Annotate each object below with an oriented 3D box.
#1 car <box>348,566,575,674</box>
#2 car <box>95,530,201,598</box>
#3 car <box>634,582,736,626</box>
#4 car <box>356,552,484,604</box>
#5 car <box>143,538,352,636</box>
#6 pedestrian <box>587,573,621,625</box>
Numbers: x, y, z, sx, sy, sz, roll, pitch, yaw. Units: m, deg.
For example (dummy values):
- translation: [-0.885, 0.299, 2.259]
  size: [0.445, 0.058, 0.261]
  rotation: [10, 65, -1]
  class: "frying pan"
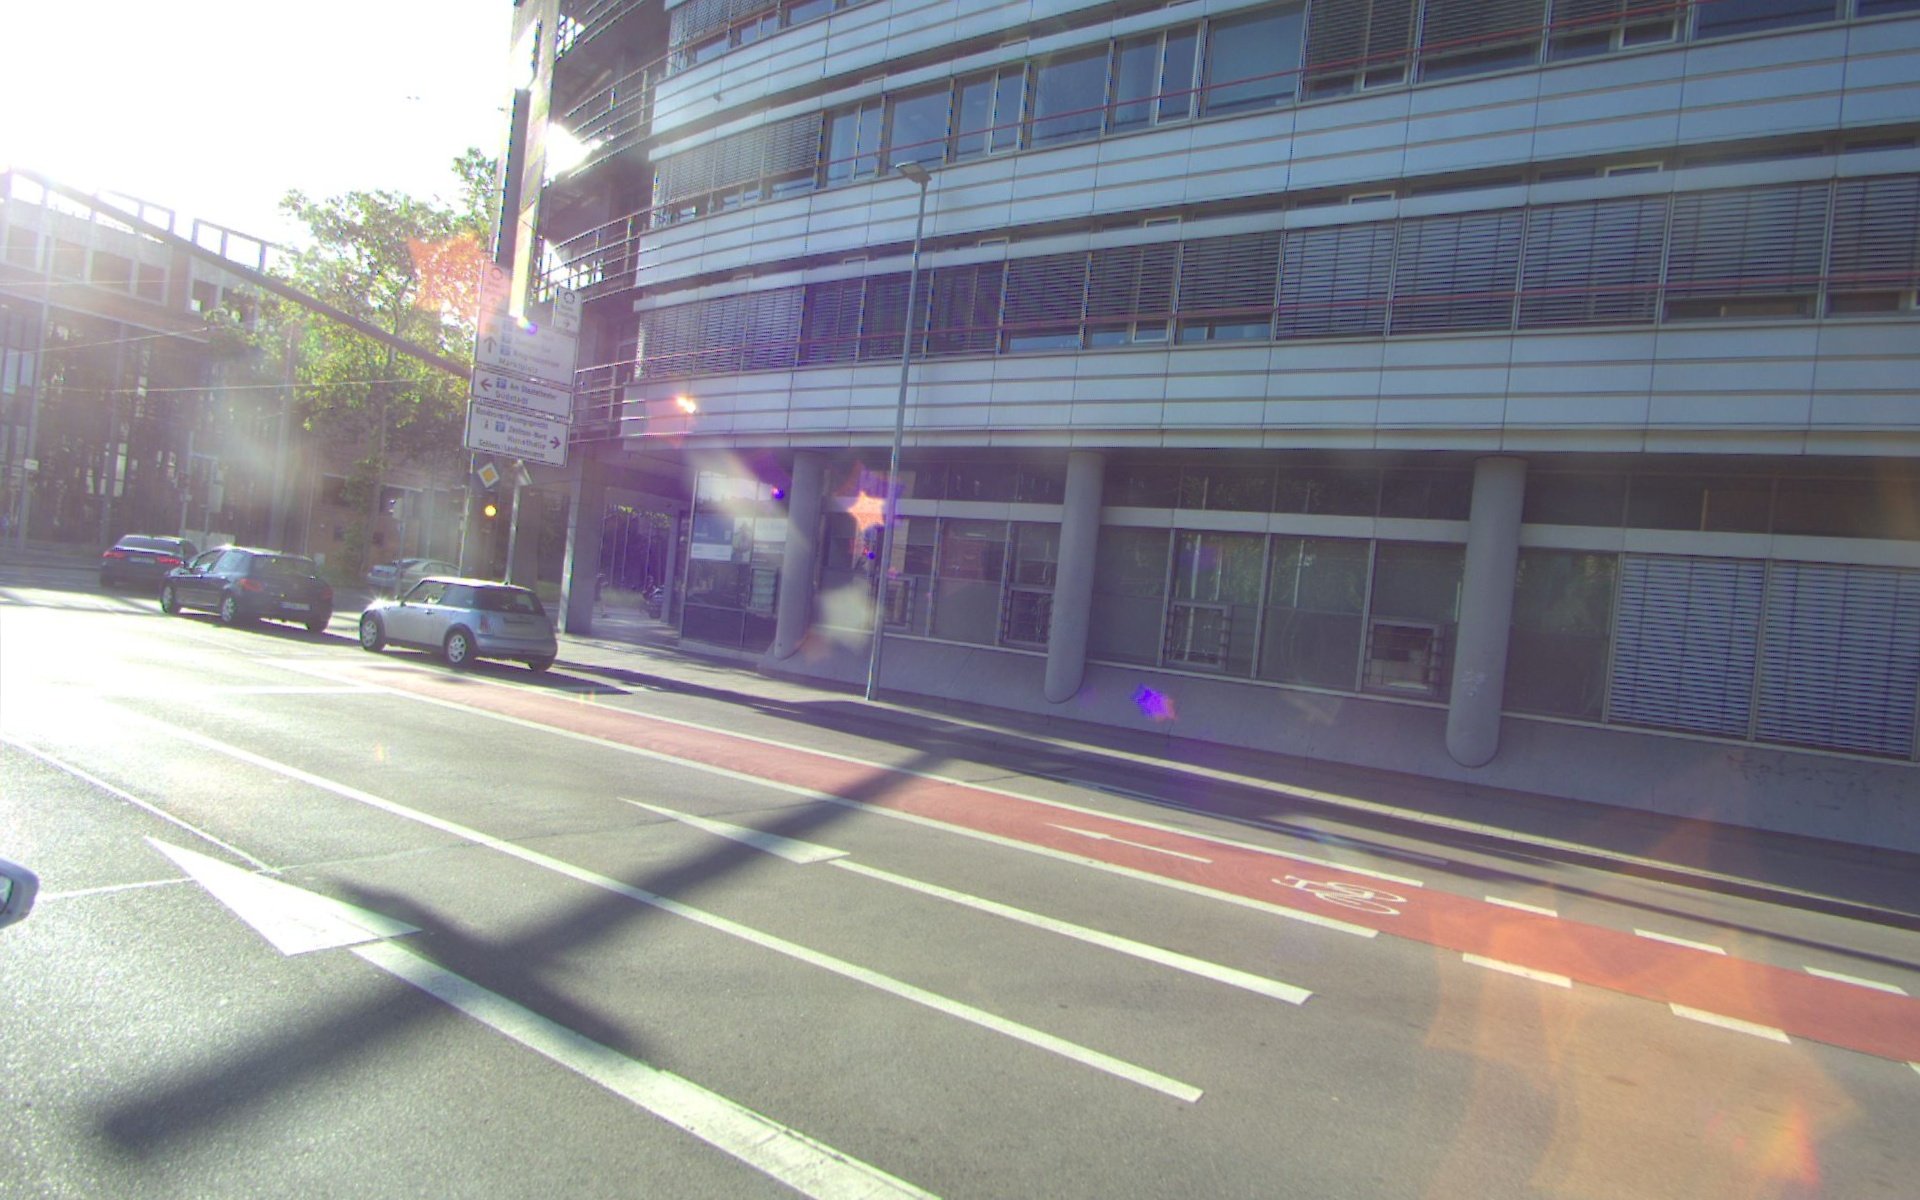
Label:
- translation: [-8.437, 0.335, 17.001]
  size: [3.477, 1.405, 1.665]
  rotation: [5, -2, 30]
  class: "car"
- translation: [-21.115, -0.929, 26.303]
  size: [1.684, 1.457, 3.984]
  rotation: [7, -2, -34]
  class: "car"
- translation: [-11.924, 0.204, 43.841]
  size: [1.837, 1.492, 3.968]
  rotation: [6, -1, 33]
  class: "car"
- translation: [-19.966, -0.776, 37.403]
  size: [1.669, 1.492, 3.982]
  rotation: [6, -1, 20]
  class: "car"
- translation: [-14.270, -0.262, 20.132]
  size: [3.910, 1.493, 1.864]
  rotation: [6, -1, 30]
  class: "car"
- translation: [-12.848, -0.024, 36.336]
  size: [0.578, 1.754, 0.790]
  rotation: [5, -2, 40]
  class: "pedestrian"
